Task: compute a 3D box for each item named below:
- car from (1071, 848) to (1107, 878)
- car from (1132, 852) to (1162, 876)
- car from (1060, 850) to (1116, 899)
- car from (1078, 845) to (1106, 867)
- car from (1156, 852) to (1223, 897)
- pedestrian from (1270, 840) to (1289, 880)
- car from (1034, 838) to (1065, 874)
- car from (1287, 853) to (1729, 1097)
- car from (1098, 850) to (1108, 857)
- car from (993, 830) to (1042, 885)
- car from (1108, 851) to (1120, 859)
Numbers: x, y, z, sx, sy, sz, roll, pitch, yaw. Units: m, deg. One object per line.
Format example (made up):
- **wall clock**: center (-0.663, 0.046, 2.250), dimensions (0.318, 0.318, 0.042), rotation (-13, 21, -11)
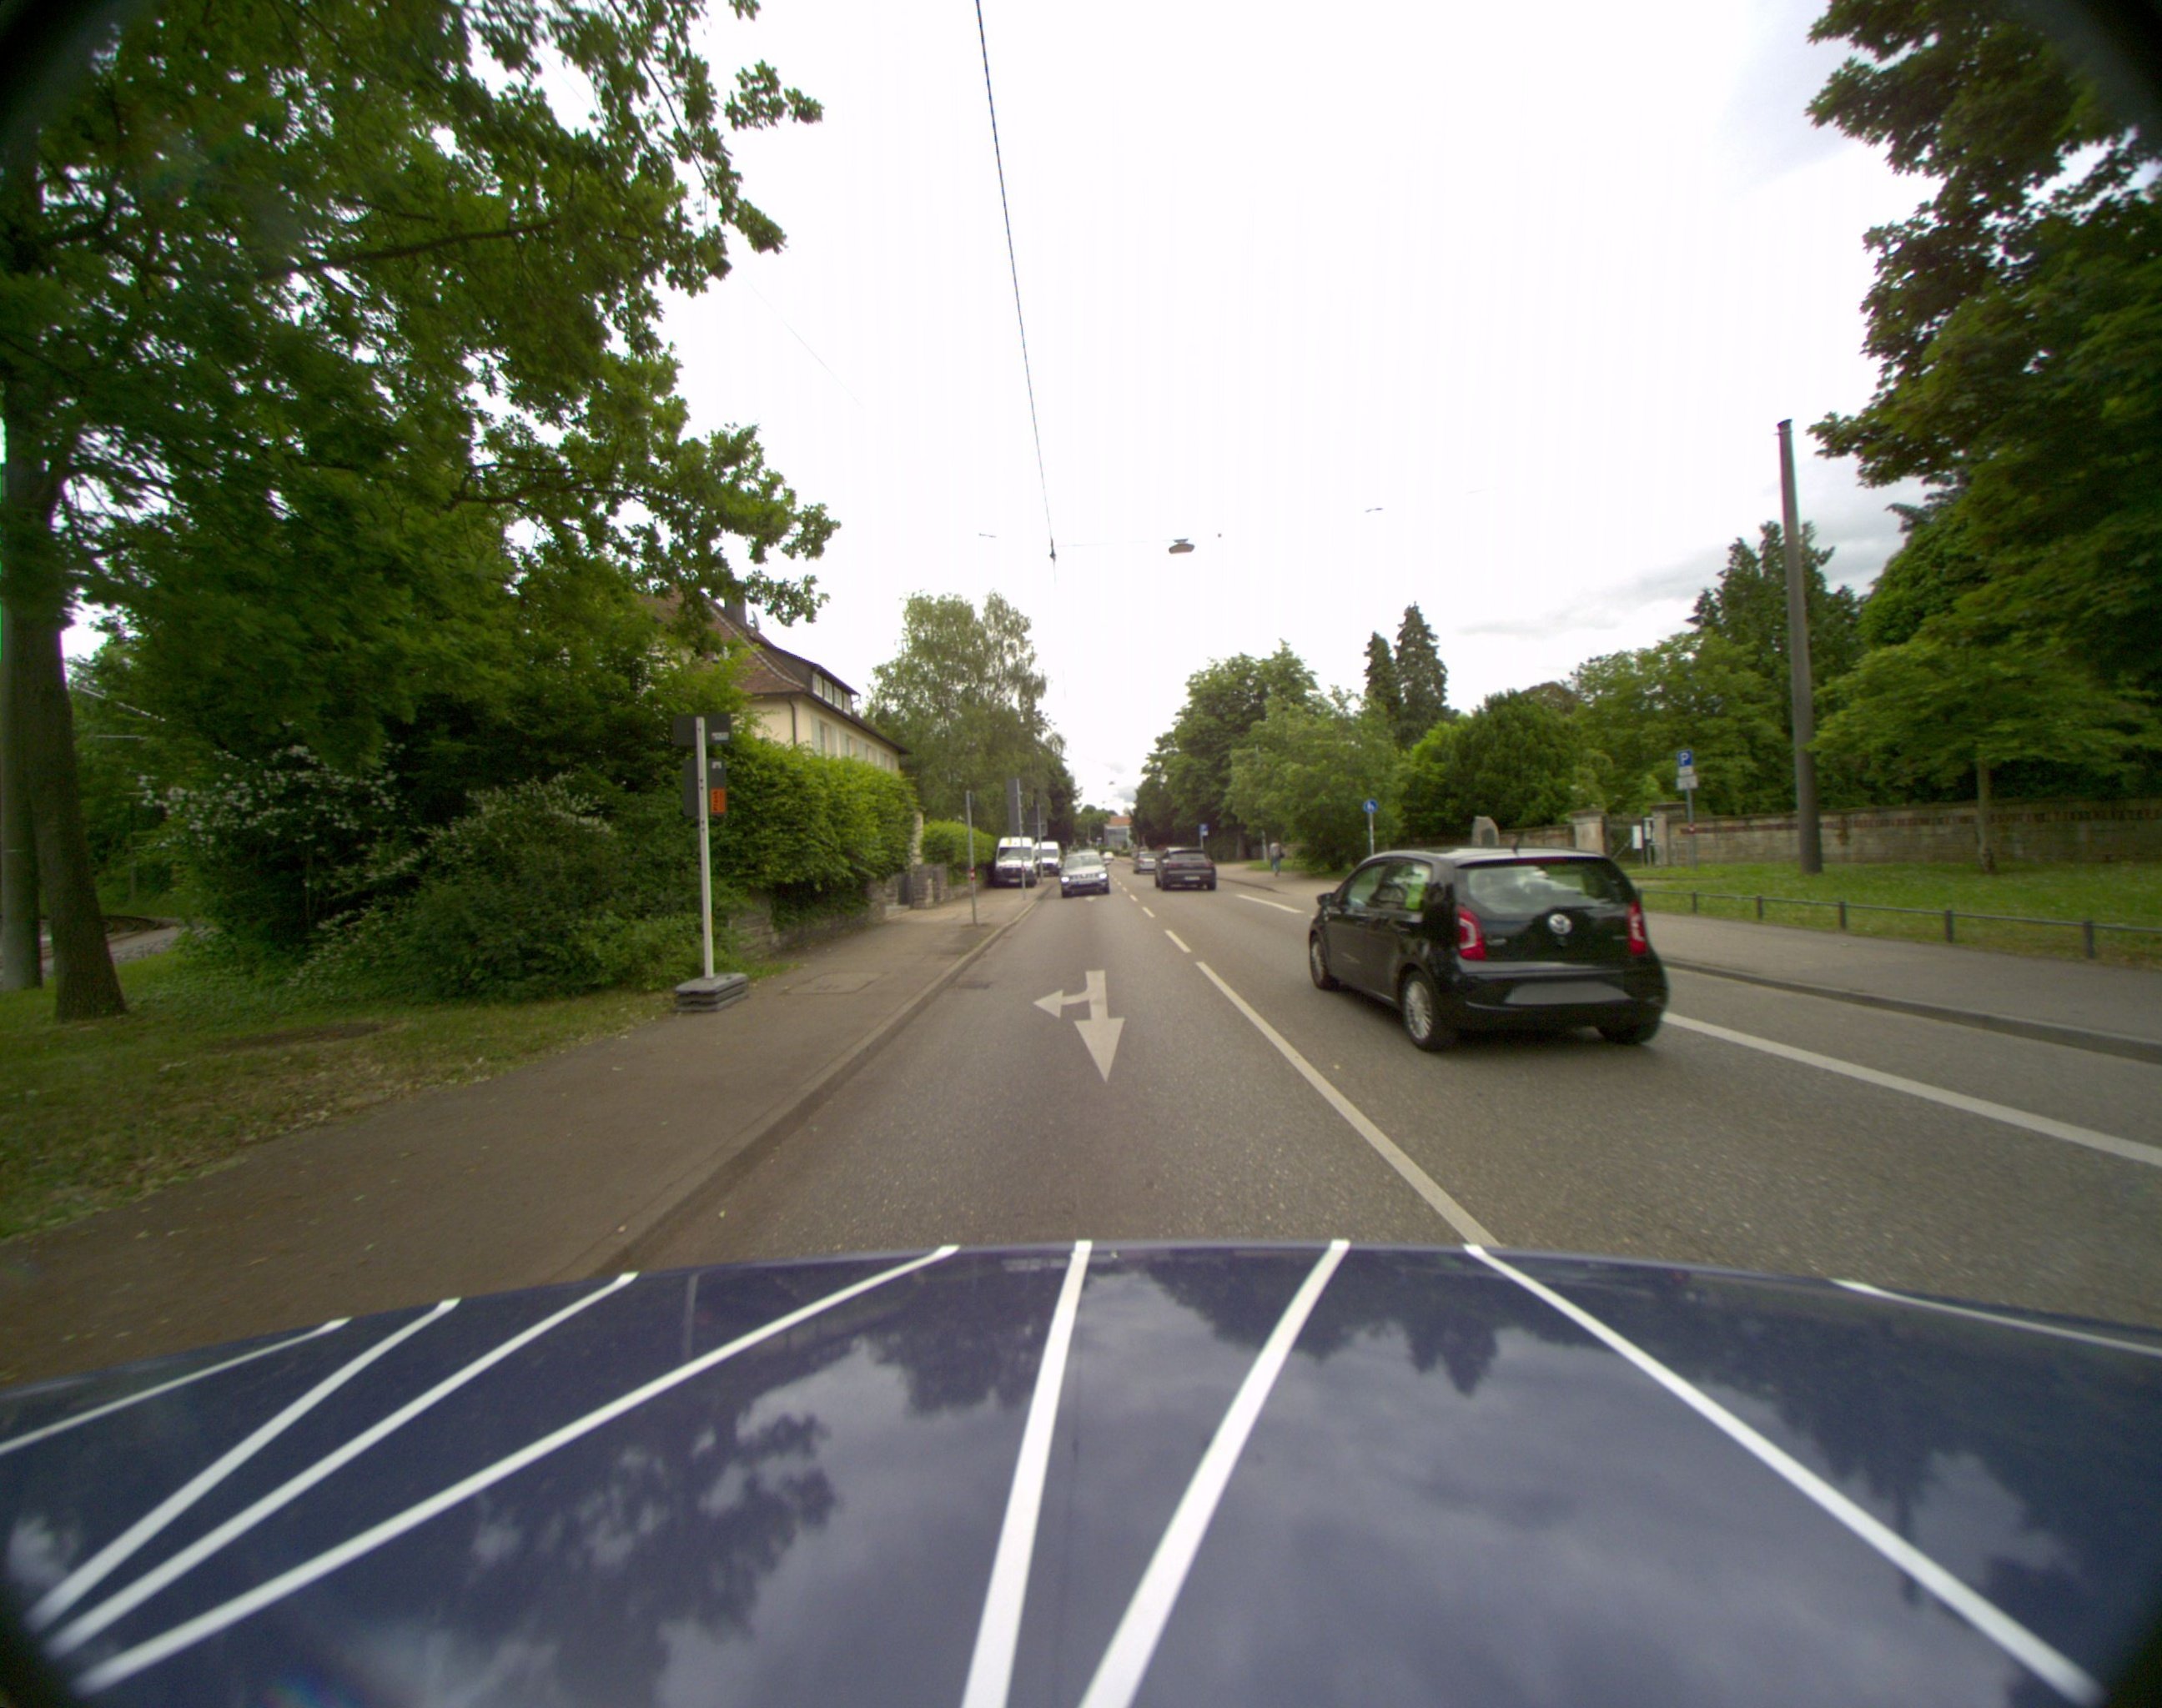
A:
- **car**: center (0.438, 0.516, 46.527), dimensions (1.835, 1.610, 4.487), rotation (-4, 1, -3)
- **car**: center (4.360, 0.652, 50.618), dimensions (1.729, 1.454, 4.154), rotation (-2, 0, 2)
- **car**: center (0.192, 0.733, 29.811), dimensions (1.835, 1.610, 4.487), rotation (-4, 1, -3)
- **car**: center (0.863, 0.147, 60.331), dimensions (1.835, 1.610, 4.487), rotation (-4, 1, -3)
- **car**: center (3.989, 0.711, 28.651), dimensions (1.944, 1.522, 4.526), rotation (-1, 0, 1)
- **pedestrian**: center (9.061, 0.259, 34.686), dimensions (0.615, 1.801, 0.785), rotation (-3, 2, 0)
- **car**: center (-2.351, 0.148, 58.194), dimensions (2.046, 2.588, 5.966), rotation (-2, 0, 1)
- **car**: center (3.180, 0.753, 6.642), dimensions (1.668, 1.440, 3.827), rotation (-3, 0, 0)
- **car**: center (4.603, -0.201, 161.728), dimensions (1.913, 1.484, 3.999), rotation (0, 0, -2)
- **car**: center (-3.254, 0.156, 40.297), dimensions (2.095, 2.589, 6.680), rotation (-2, 0, -2)
- **car**: center (5.705, 0.186, 132.214), dimensions (1.913, 1.484, 3.999), rotation (0, 0, -2)
